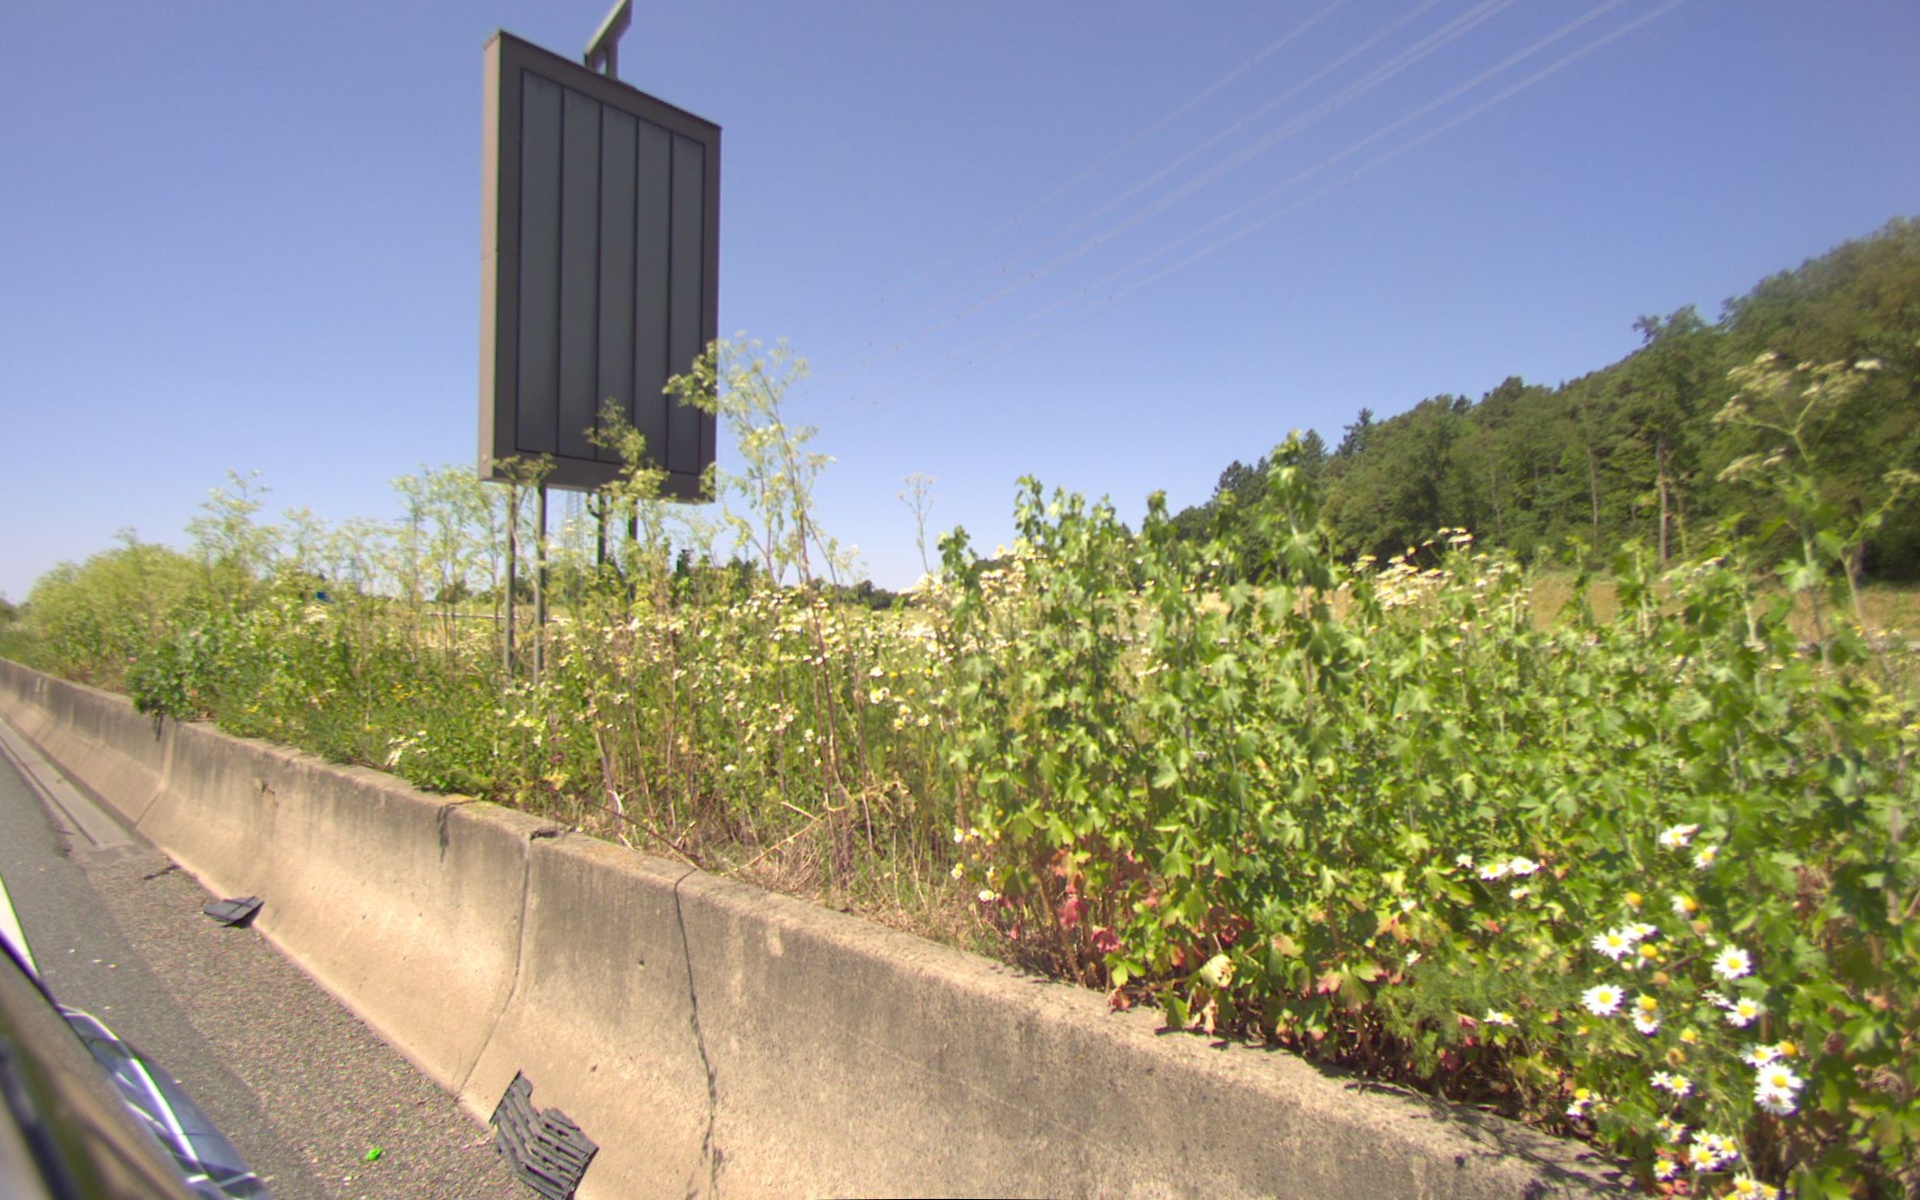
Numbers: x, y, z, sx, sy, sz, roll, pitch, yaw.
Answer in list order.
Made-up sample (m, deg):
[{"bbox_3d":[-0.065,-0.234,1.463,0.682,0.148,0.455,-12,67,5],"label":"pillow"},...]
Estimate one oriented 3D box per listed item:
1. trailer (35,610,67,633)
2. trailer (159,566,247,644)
[{"bbox_3d":[-152.120,3.668,169.371,8.200,3.790,3.148,-1,-3,43],"label":"trailer"},{"bbox_3d":[-52.830,0.410,70.514,9.592,5.086,3.286,-1,-2,44],"label":"trailer"}]
